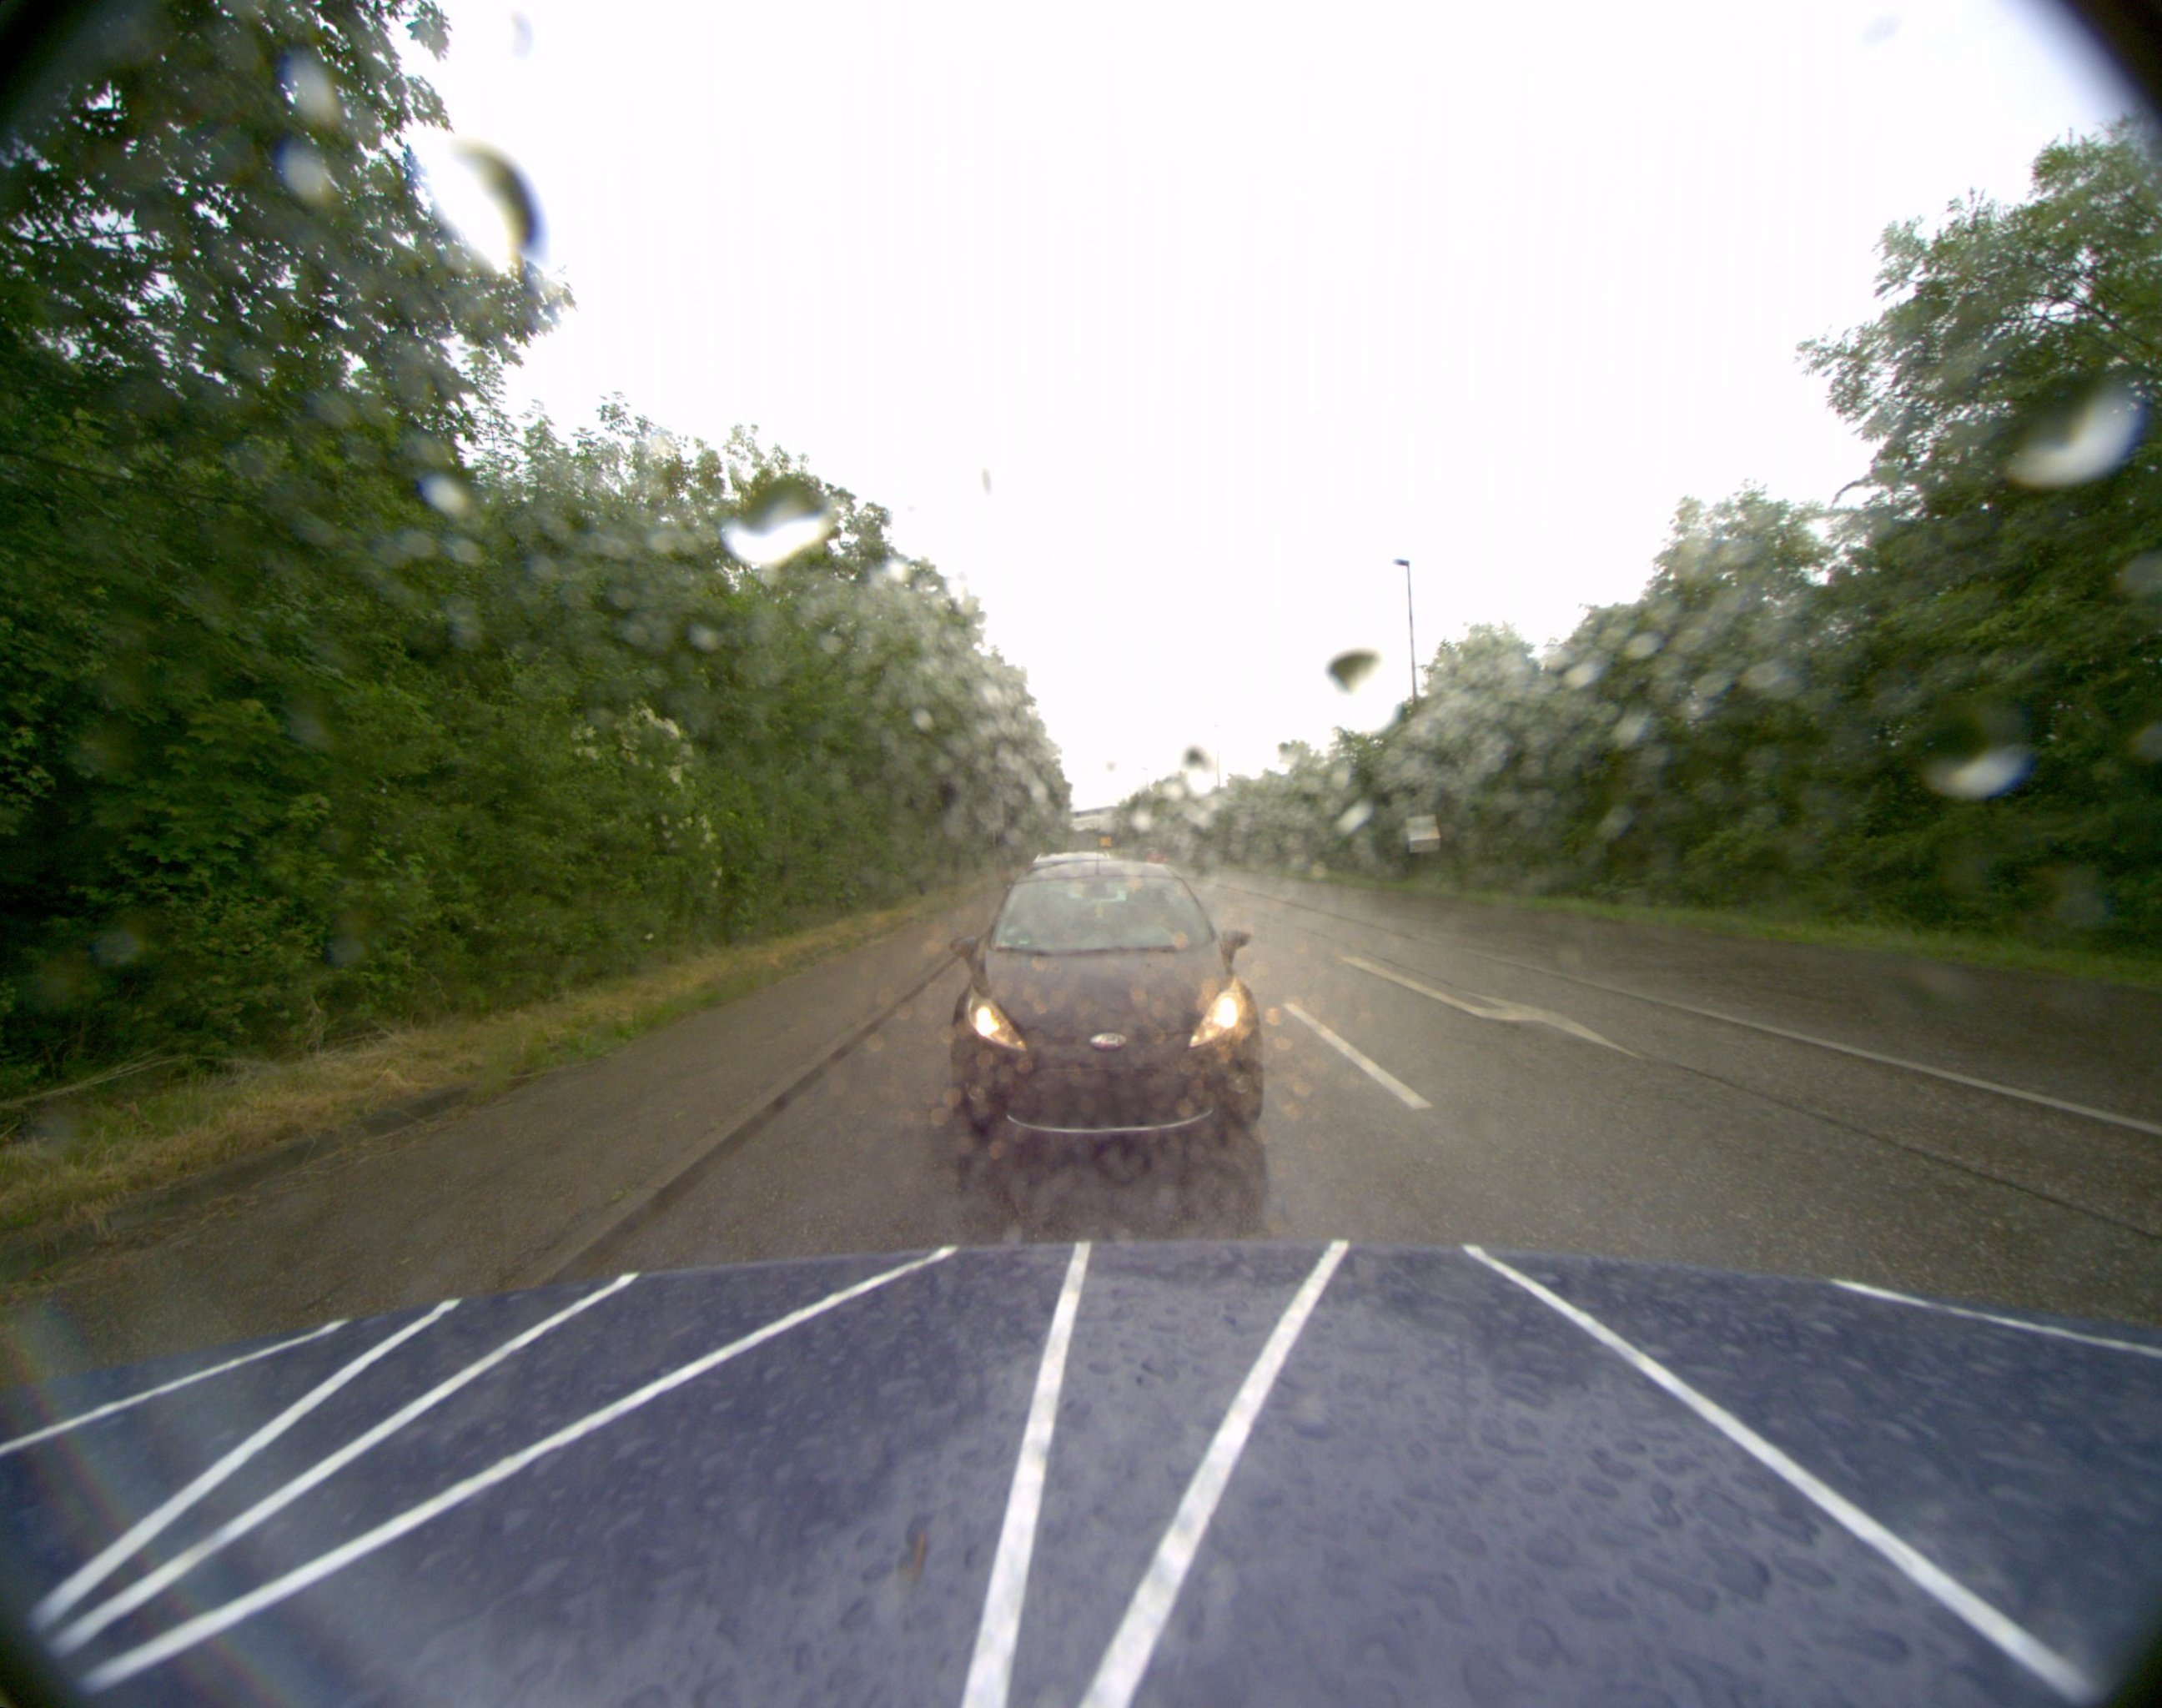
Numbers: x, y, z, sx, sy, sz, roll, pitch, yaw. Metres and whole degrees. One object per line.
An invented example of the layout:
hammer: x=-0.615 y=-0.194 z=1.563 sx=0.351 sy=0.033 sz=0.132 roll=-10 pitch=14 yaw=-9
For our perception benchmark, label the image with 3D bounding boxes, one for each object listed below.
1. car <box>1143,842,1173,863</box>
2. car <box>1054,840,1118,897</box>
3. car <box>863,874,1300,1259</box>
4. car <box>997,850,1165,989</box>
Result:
car: x=6.235 y=-0.171 z=61.714 sx=1.998 sy=1.576 sz=3.999 roll=-2 pitch=1 yaw=1
car: x=0.183 y=0.451 z=26.452 sx=1.998 sy=1.778 sz=4.000 roll=-2 pitch=0 yaw=0
car: x=0.031 y=0.981 z=5.446 sx=1.839 sy=1.404 sz=4.341 roll=-2 pitch=1 yaw=1
car: x=0.029 y=0.792 z=11.270 sx=1.998 sy=1.576 sz=3.999 roll=-2 pitch=1 yaw=1
